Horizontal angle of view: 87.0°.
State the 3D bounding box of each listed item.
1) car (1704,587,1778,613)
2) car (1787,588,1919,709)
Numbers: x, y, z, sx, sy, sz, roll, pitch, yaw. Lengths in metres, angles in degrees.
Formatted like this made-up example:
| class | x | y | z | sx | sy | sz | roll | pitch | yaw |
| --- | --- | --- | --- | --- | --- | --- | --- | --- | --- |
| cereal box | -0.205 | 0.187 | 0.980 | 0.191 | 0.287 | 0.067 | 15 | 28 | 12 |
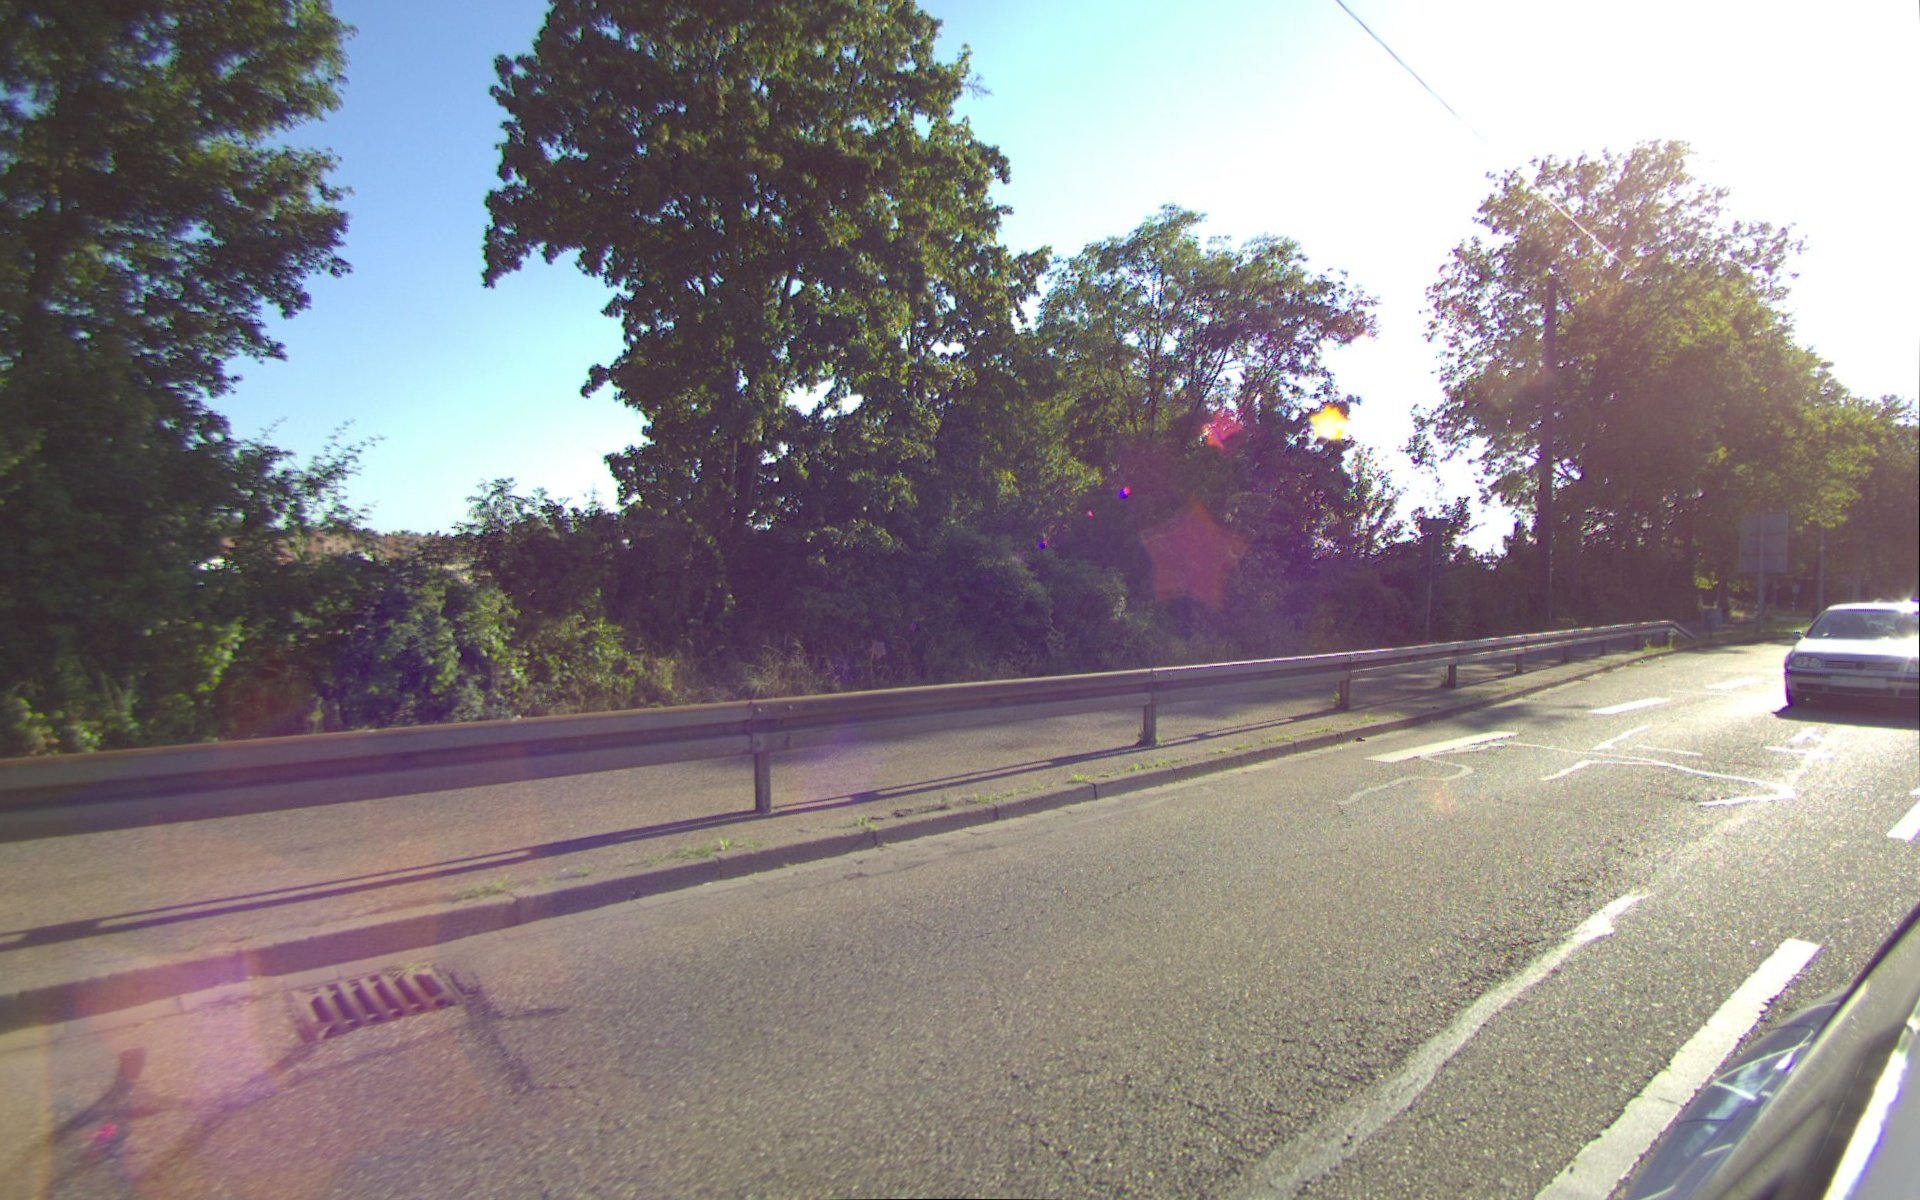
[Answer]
| class | x | y | z | sx | sy | sz | roll | pitch | yaw |
| --- | --- | --- | --- | --- | --- | --- | --- | --- | --- |
| car | 55.932 | -0.029 | 72.586 | 3.972 | 1.685 | 1.869 | 2 | 2 | 33 |
| car | 13.032 | 0.582 | 14.023 | 3.930 | 1.463 | 1.724 | -1 | 2 | -40 |
